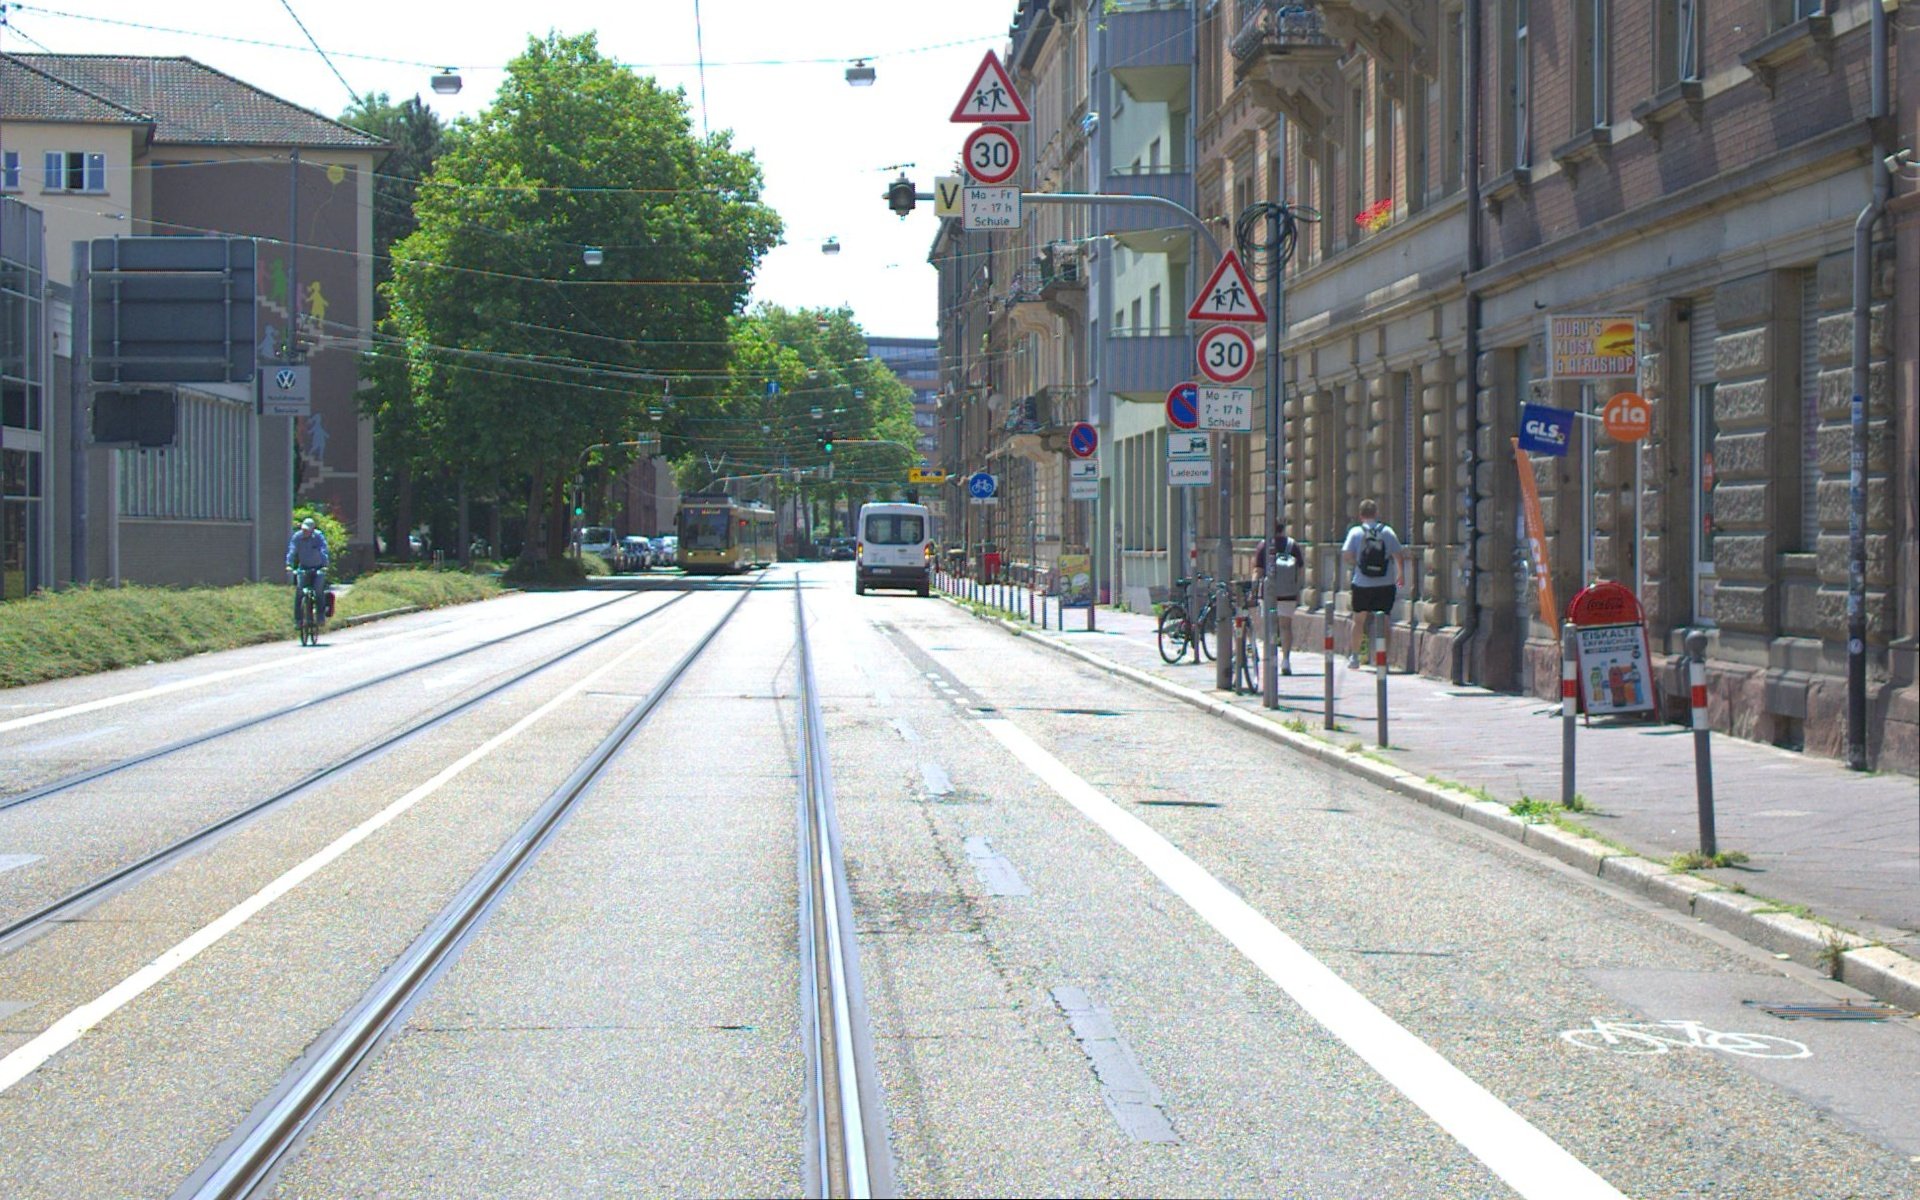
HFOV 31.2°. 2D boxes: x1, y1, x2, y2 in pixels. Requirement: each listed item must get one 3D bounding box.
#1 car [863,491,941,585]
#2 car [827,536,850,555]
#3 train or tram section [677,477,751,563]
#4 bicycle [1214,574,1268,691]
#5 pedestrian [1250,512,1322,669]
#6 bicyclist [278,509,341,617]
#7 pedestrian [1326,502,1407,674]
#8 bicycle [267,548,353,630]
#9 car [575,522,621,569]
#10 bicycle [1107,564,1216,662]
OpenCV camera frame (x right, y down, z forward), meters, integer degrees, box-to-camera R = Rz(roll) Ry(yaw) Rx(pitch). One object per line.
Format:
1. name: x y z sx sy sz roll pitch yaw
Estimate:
1. car: -1.639 -1.729 95.774 2.067 2.492 5.455 1 1 -2
2. car: -9.101 -4.108 257.642 1.528 1.404 3.490 1 1 -5
3. train or tram section: -10.734 -3.490 151.144 2.960 3.568 13.425 0 1 -3
4. bicycle: 2.770 0.302 34.004 0.447 1.093 2.422 0 1 3
5. pedestrian: 3.595 -0.108 37.979 0.720 1.714 0.644 0 1 -1
6. bicyclist: -9.373 -0.532 49.585 0.698 1.543 0.980 0 1 1
7. pedestrian: 4.479 -0.141 37.932 0.702 1.842 0.644 -3 1 -1
8. bicycle: -9.373 -0.176 49.664 0.698 1.140 2.495 0 1 1
9. car: -15.311 -2.318 145.417 1.800 1.916 4.001 1 1 -5
10. bicycle: 2.460 0.143 41.724 0.499 1.127 2.240 0 1 26
